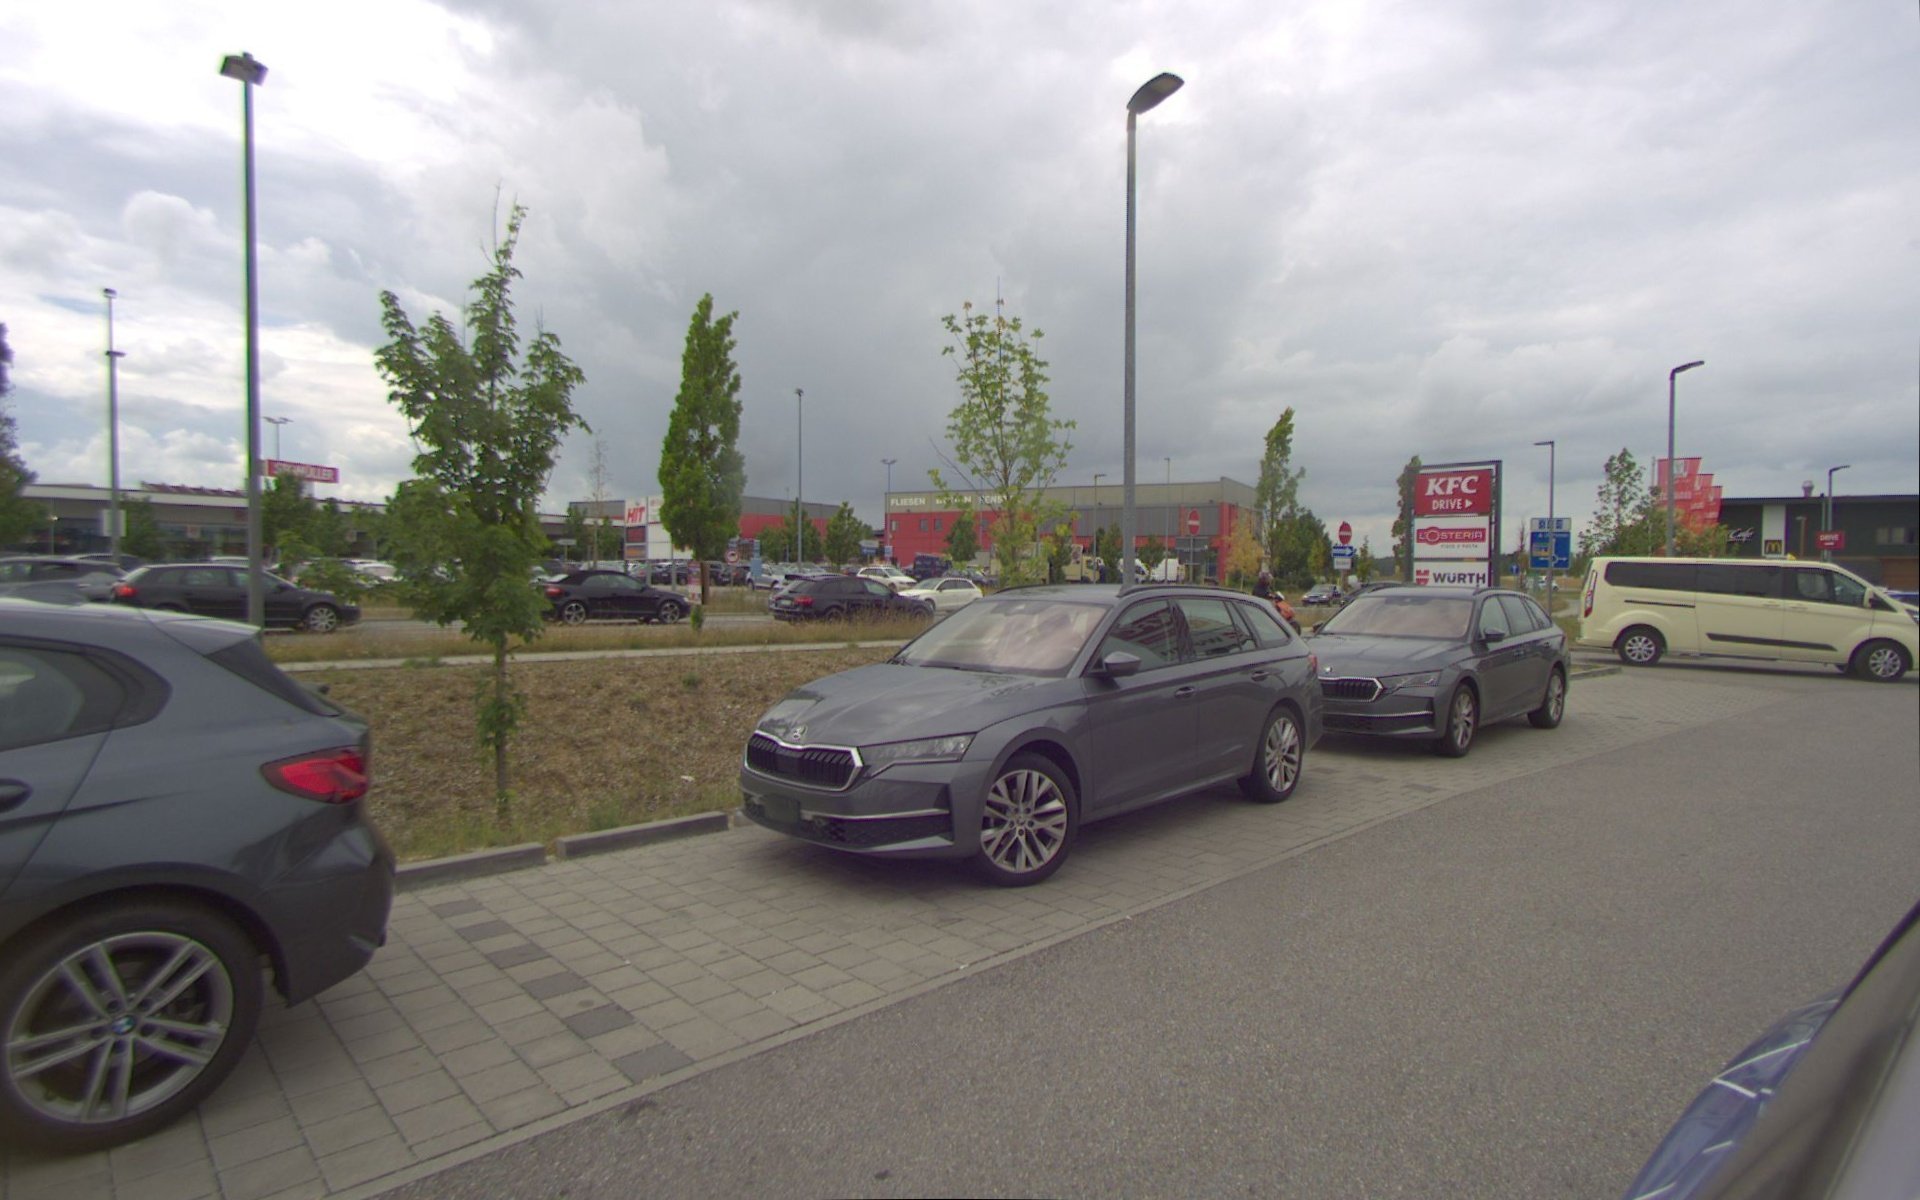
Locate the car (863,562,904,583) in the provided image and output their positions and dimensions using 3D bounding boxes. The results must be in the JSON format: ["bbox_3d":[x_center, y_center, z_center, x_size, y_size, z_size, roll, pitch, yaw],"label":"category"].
[{"bbox_3d":[-6.330,-2.306,84.229,1.745,1.674,3.804,1,2,25],"label":"car"}]

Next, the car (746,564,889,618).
[{"bbox_3d":[-4.231,-0.294,30.384,3.930,1.513,1.820,-1,2,-41],"label":"car"}]

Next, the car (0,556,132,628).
[{"bbox_3d":[-20.145,-0.173,21.178,1.994,1.474,4.196,1,1,45],"label":"car"}]

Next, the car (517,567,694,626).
[{"bbox_3d":[-9.151,-0.122,26.254,3.932,1.415,1.905,-1,2,-43],"label":"car"}]

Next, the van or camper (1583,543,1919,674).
[{"bbox_3d":[14.140,0.086,17.962,5.198,2.087,1.837,1,1,34],"label":"van or camper"}]

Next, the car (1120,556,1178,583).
[{"bbox_3d":[15.644,-2.527,83.731,4.397,2.149,1.981,0,1,28],"label":"car"}]

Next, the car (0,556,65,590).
[{"bbox_3d":[-47.524,-1.370,50.453,1.859,1.660,3.962,1,1,28],"label":"car"}]

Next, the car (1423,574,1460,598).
[{"bbox_3d":[37.293,-1.098,78.370,1.896,1.836,3.948,1,2,36],"label":"car"}]

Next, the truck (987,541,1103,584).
[{"bbox_3d":[6.181,-2.709,73.163,8.013,2.982,2.685,-1,2,-23],"label":"truck"}]

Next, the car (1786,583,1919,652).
[{"bbox_3d":[22.051,0.373,24.087,1.673,1.568,3.520,-1,1,-43],"label":"car"}]

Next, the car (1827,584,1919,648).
[{"bbox_3d":[24.060,0.390,25.294,1.656,1.562,3.438,-1,1,-41],"label":"car"}]

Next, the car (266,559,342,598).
[{"bbox_3d":[-26.557,-0.883,40.943,3.988,1.494,1.750,2,2,44],"label":"car"}]

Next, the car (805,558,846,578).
[{"bbox_3d":[-11.431,-2.772,86.139,1.745,1.674,3.804,1,2,25],"label":"car"}]

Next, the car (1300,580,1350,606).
[{"bbox_3d":[22.887,-0.463,63.328,1.748,1.499,4.473,0,1,37],"label":"car"}]

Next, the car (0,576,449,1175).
[{"bbox_3d":[-3.673,0.669,2.215,1.747,1.433,4.240,1,1,43],"label":"car"}]

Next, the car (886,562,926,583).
[{"bbox_3d":[-4.425,-2.301,83.201,1.745,1.674,3.804,1,2,25],"label":"car"}]

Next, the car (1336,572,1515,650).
[{"bbox_3d":[9.834,0.167,21.527,1.481,1.465,3.122,-1,3,-41],"label":"car"}]

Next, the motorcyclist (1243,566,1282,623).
[{"bbox_3d":[7.092,-0.138,23.713,0.566,1.332,0.671,-1,1,-44],"label":"motorcyclist"}]

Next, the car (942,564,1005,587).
[{"bbox_3d":[0.863,-1.594,65.986,3.811,1.445,1.724,1,2,31],"label":"car"}]

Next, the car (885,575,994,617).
[{"bbox_3d":[-0.740,-0.172,38.303,3.986,1.499,1.755,-1,1,-41],"label":"car"}]

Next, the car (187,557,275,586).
[{"bbox_3d":[-44.475,-1.738,61.805,1.859,1.660,3.962,1,1,28],"label":"car"}]

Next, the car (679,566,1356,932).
[{"bbox_3d":[0.705,0.566,6.428,1.748,1.509,4.559,1,1,44],"label":"car"}]

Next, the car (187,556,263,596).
[{"bbox_3d":[-28.392,-0.937,39.057,3.988,1.494,1.750,2,2,44],"label":"car"}]

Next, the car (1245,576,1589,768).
[{"bbox_3d":[4.743,0.518,10.144,1.748,1.509,4.416,1,1,45],"label":"car"}]

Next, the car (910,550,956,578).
[{"bbox_3d":[-2.162,-2.905,81.477,2.004,2.232,4.313,1,2,25],"label":"car"}]

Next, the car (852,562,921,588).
[{"bbox_3d":[-4.444,-1.490,60.899,3.985,1.460,1.970,1,1,42],"label":"car"}]

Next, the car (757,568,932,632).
[{"bbox_3d":[-2.964,-0.039,26.550,1.994,1.534,4.300,2,2,44],"label":"car"}]

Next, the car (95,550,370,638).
[{"bbox_3d":[-14.590,-0.158,20.453,1.903,1.588,4.267,2,2,44],"label":"car"}]

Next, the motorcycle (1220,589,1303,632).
[{"bbox_3d":[7.061,0.231,23.766,0.547,0.928,1.865,-1,1,-43],"label":"motorcycle"}]
